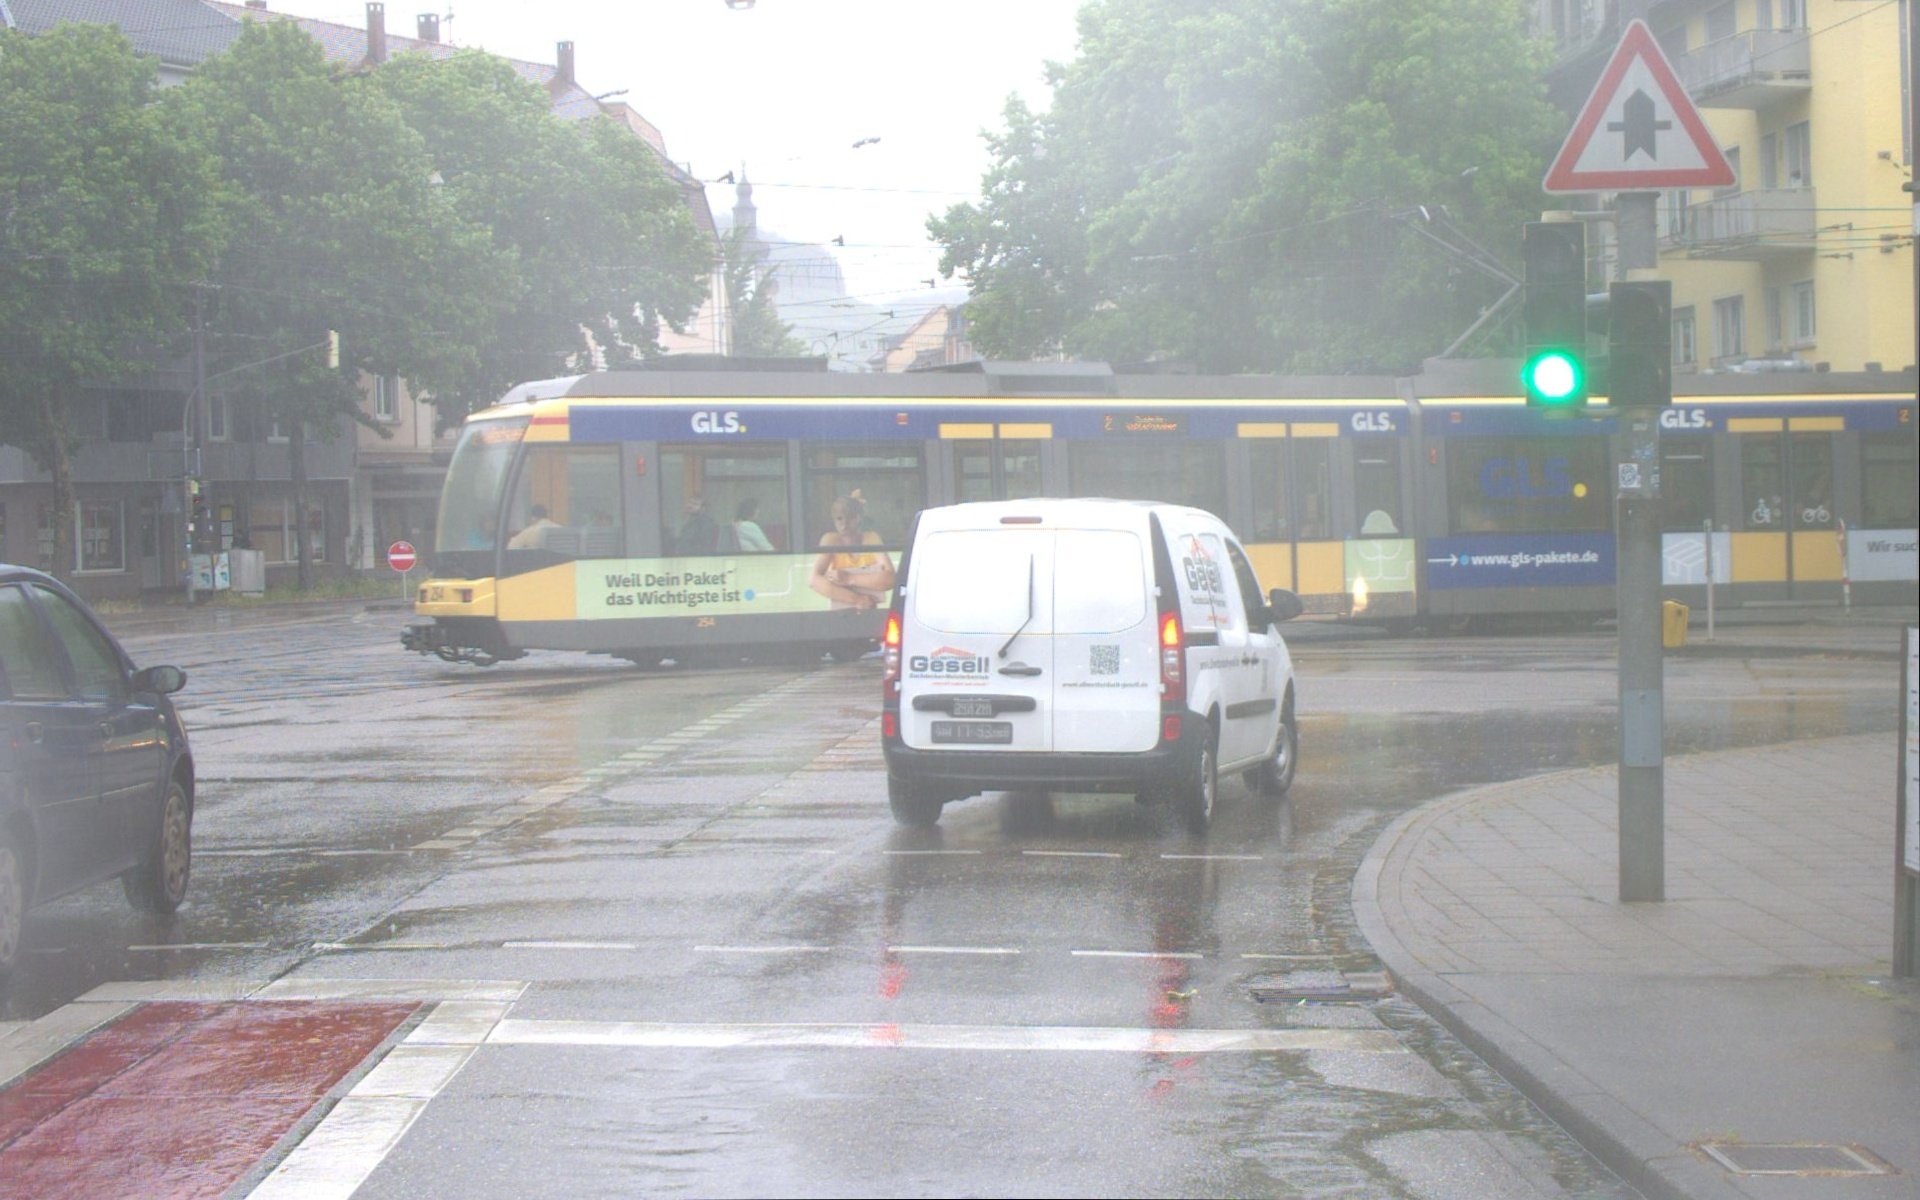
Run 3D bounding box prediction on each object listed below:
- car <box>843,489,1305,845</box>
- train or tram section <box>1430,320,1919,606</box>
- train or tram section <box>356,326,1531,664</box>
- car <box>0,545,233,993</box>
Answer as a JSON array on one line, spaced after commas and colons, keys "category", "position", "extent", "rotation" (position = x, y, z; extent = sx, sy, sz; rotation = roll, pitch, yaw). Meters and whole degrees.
[{"category": "car", "position": [0.777, 0.272, 19.772], "extent": [1.905, 1.791, 4.111], "rotation": [0, 2, 13]}, {"category": "train or tram section", "position": [13.835, -1.912, 45.878], "extent": [14.624, 3.546, 3.117], "rotation": [-1, 2, -6]}, {"category": "train or tram section", "position": [0.236, -1.395, 41.189], "extent": [14.531, 3.546, 3.116], "rotation": [-2, 2, -32]}, {"category": "car", "position": [-4.047, 0.537, 12.730], "extent": [1.882, 1.454, 3.832], "rotation": [0, 0, 0]}]
